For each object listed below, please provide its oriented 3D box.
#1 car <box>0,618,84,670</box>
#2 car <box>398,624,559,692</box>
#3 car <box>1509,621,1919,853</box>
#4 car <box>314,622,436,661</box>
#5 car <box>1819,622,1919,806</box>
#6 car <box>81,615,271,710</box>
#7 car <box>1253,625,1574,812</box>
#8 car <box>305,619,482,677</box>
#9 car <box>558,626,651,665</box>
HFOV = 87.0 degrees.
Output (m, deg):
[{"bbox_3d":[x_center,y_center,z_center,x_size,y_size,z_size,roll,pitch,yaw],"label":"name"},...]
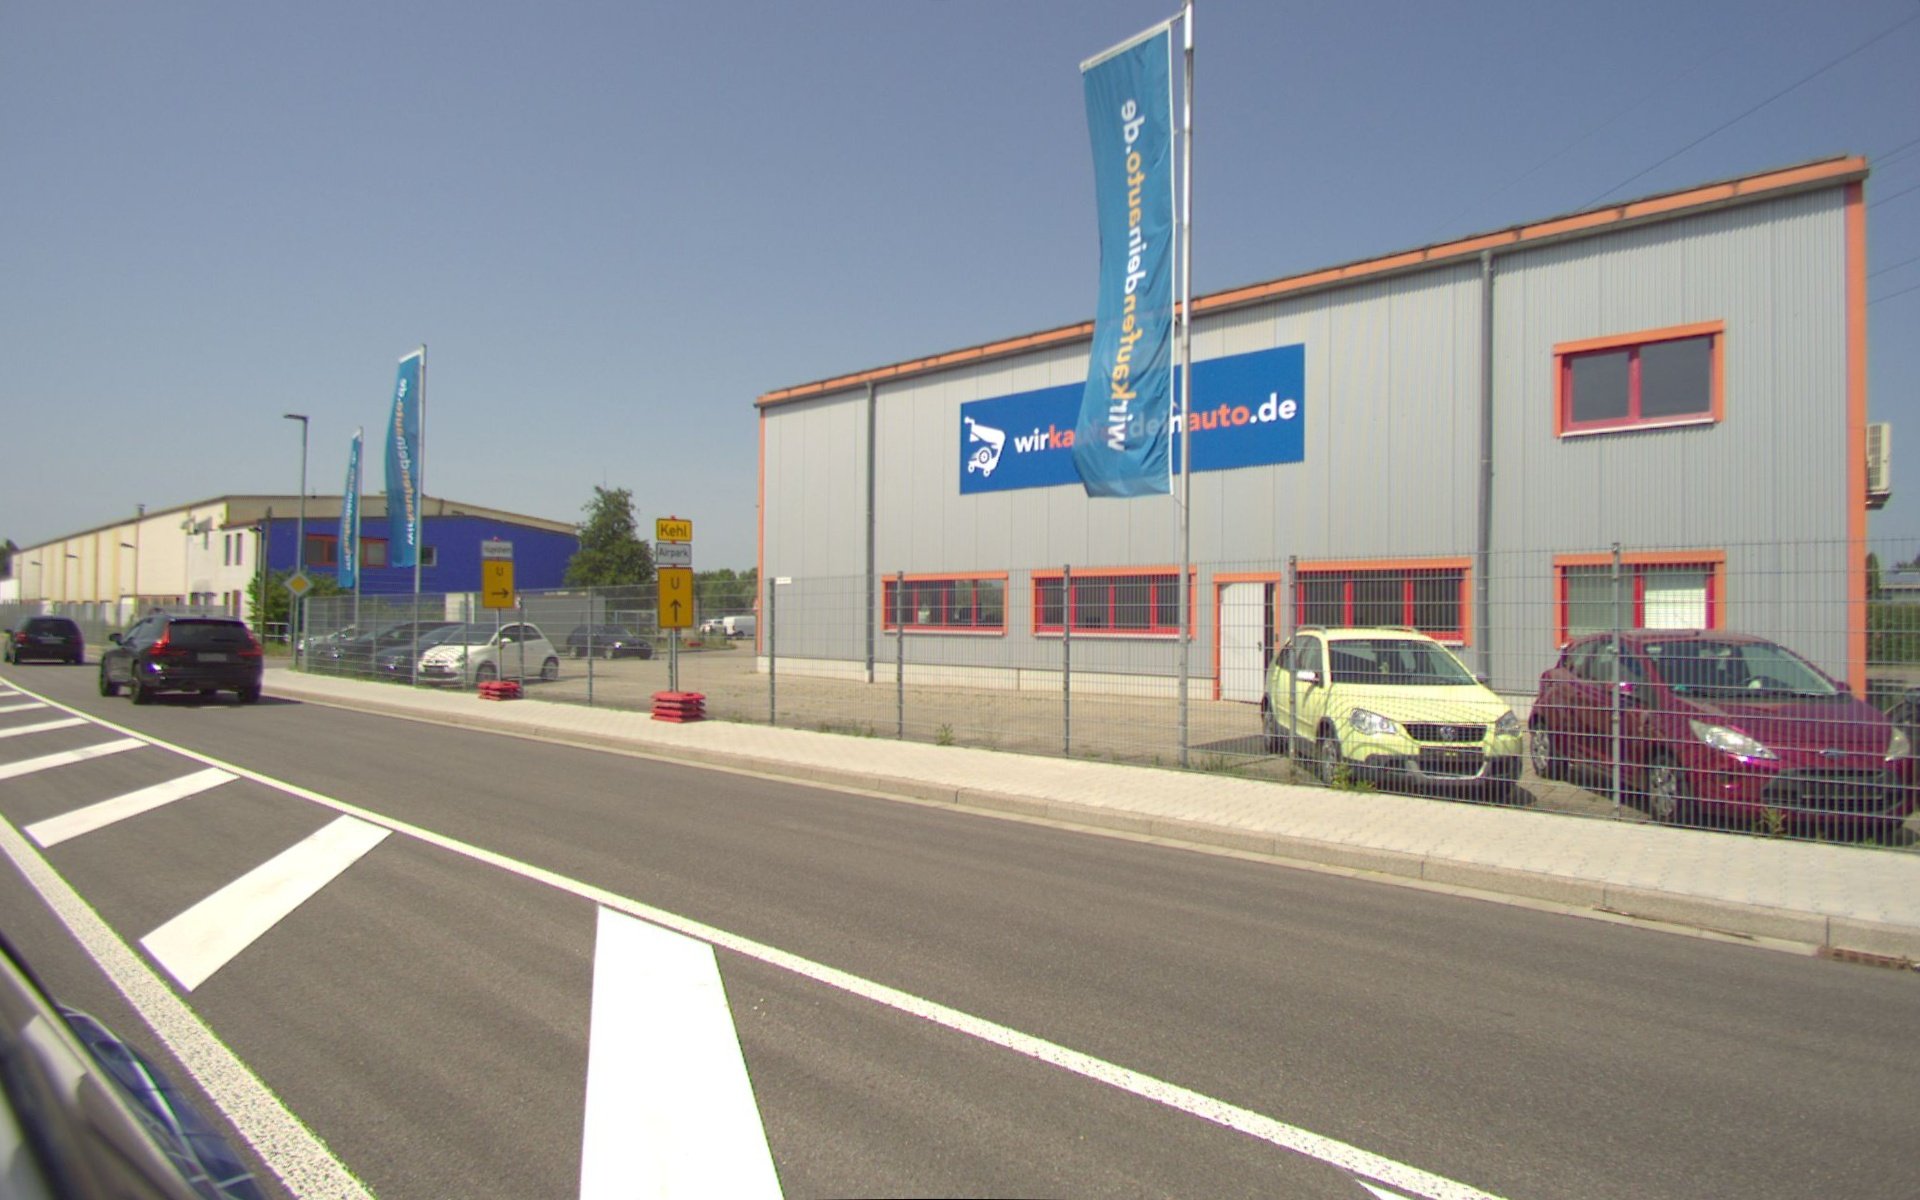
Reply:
[{"bbox_3d":[-30.249,1.420,33.165,3.794,1.606,1.723,-1,-4,41],"label":"car"},{"bbox_3d":[-11.266,1.307,23.934,1.575,1.476,3.469,0,-2,15],"label":"car"},{"bbox_3d":[6.398,0.944,8.595,1.723,1.505,3.990,0,-2,8],"label":"car"},{"bbox_3d":[-24.317,1.708,42.160,4.098,1.514,1.777,2,-3,-43],"label":"car"},{"bbox_3d":[8.515,0.911,7.475,1.728,1.505,3.980,0,-2,15],"label":"car"},{"bbox_3d":[-15.245,1.155,19.596,4.518,1.629,1.862,-1,-4,39],"label":"car"},{"bbox_3d":[4.282,1.014,10.322,1.722,1.505,4.087,0,-2,5],"label":"car"},{"bbox_3d":[-15.885,1.330,28.532,1.772,1.514,3.949,-1,-3,37],"label":"car"},{"bbox_3d":[-14.456,1.826,41.095,3.997,1.514,1.751,-2,-3,40],"label":"car"}]
